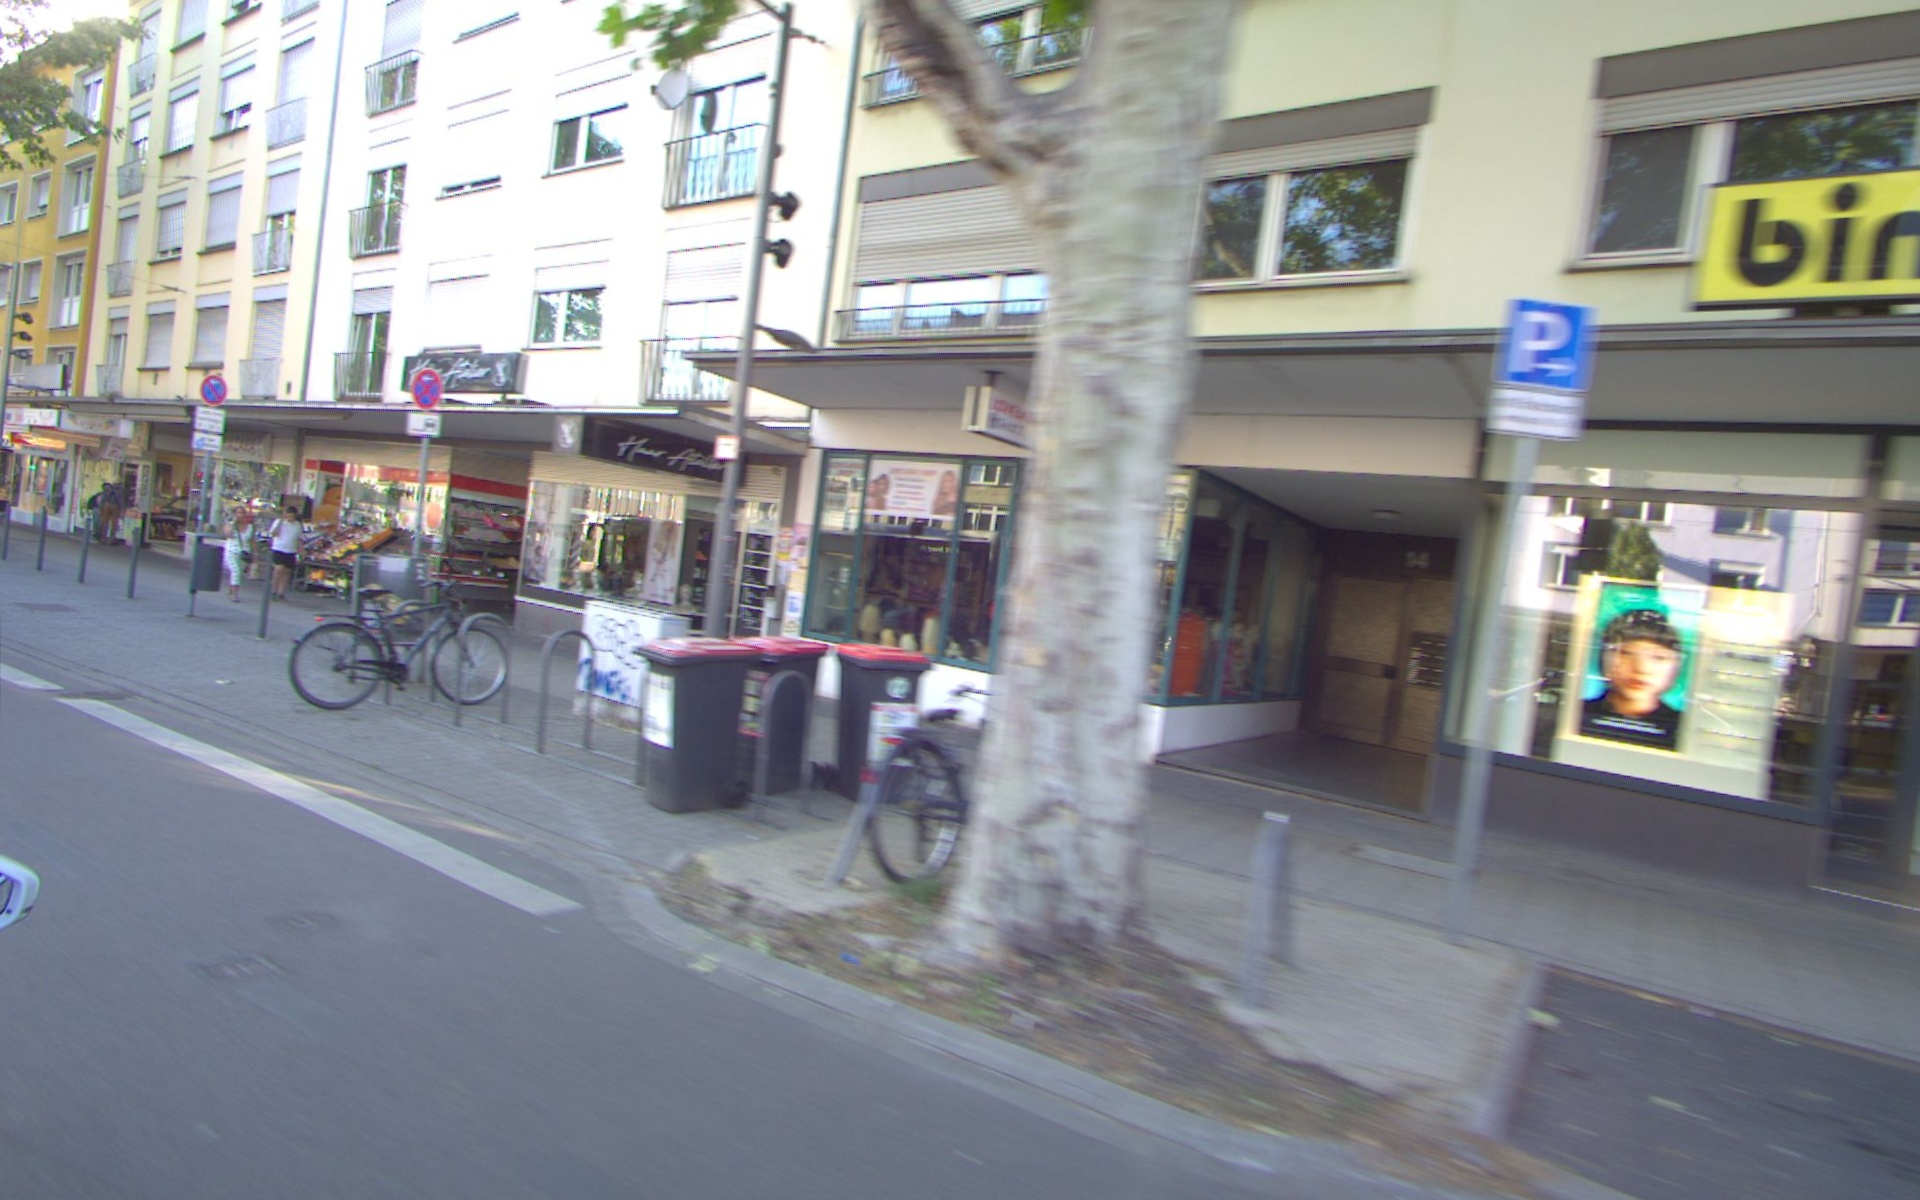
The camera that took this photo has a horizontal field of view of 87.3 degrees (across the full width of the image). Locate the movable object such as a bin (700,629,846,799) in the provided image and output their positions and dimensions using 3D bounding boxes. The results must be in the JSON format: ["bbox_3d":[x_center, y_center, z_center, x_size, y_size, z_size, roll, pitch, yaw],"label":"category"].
[{"bbox_3d":[-1.341,0.789,7.270,0.633,1.086,0.722,7,3,32],"label":"movable object such as a bin"}]

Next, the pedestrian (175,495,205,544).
[{"bbox_3d":[-21.904,-2.302,28.624,0.499,1.313,0.426,7,2,31],"label":"pedestrian"}]

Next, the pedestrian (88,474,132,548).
[{"bbox_3d":[-22.290,-2.326,26.386,0.630,1.827,0.622,6,2,-27],"label":"pedestrian"}]

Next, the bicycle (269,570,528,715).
[{"bbox_3d":[-4.909,0.374,8.920,0.511,1.120,1.903,8,3,40],"label":"bicycle"}]

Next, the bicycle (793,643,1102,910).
[{"bbox_3d":[0.009,0.843,5.356,0.734,1.131,1.718,4,-1,34],"label":"bicycle"}]

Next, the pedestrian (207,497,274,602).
[{"bbox_3d":[-11.659,-0.813,16.308,0.616,1.608,0.635,8,4,33],"label":"pedestrian"}]

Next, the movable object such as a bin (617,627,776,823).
[{"bbox_3d":[-1.711,0.770,6.548,0.635,1.118,0.720,8,5,41],"label":"movable object such as a bin"}]

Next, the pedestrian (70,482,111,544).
[{"bbox_3d":[-23.481,-2.335,27.173,0.620,1.566,0.632,6,2,-32],"label":"pedestrian"}]

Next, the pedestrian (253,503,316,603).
[{"bbox_3d":[-11.362,-0.784,16.916,0.616,1.608,0.622,8,4,33],"label":"pedestrian"}]

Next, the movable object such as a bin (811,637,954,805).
[{"bbox_3d":[-0.566,0.856,7.297,0.718,1.086,0.637,4,3,-38],"label":"movable object such as a bin"}]
